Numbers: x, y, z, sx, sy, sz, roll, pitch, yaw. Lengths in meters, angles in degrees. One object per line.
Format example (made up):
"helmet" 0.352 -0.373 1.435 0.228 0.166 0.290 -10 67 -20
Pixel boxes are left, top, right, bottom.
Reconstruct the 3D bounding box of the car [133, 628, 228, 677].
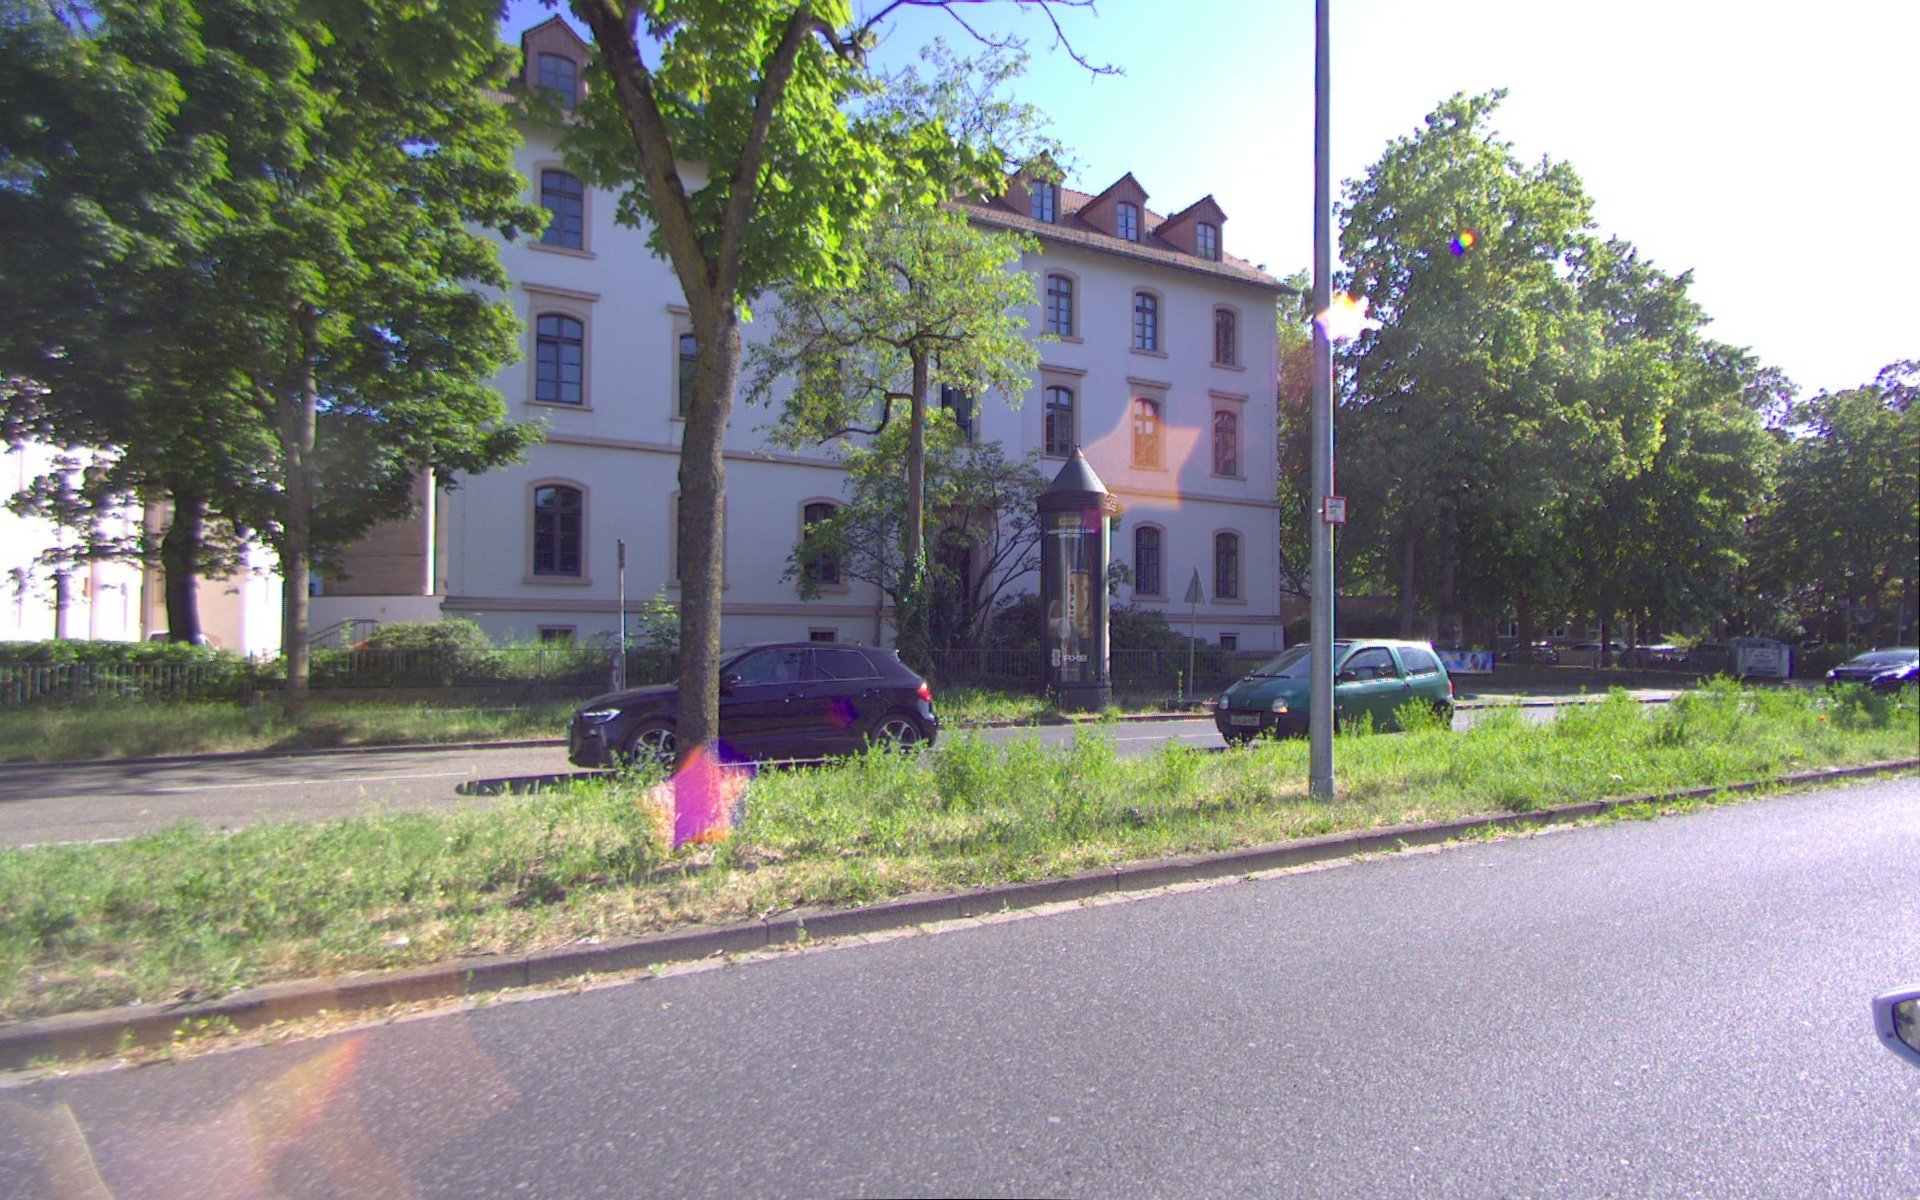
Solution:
"car" -32.235 2.154 41.674 1.972 1.817 3.979 4 -3 -22

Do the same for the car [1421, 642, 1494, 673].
"car" 28.599 3.319 57.741 3.952 1.509 1.838 5 -3 -29

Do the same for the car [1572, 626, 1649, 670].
"car" 40.390 3.009 62.311 4.925 2.354 1.838 6 -3 -28

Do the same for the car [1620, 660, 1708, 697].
"car" 33.547 3.753 47.853 3.952 1.509 1.838 5 -3 -29

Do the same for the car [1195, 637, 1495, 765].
"car" 5.369 1.299 13.872 4.209 1.539 1.630 2 -3 -31

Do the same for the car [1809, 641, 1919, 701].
"car" 25.741 1.932 28.065 4.372 1.539 1.787 2 -1 -31

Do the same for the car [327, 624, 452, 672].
"car" -25.748 2.131 45.525 4.725 1.982 1.989 -1 -2 -24

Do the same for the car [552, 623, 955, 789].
"car" -2.244 1.119 11.114 4.035 1.538 1.789 3 -4 -28
